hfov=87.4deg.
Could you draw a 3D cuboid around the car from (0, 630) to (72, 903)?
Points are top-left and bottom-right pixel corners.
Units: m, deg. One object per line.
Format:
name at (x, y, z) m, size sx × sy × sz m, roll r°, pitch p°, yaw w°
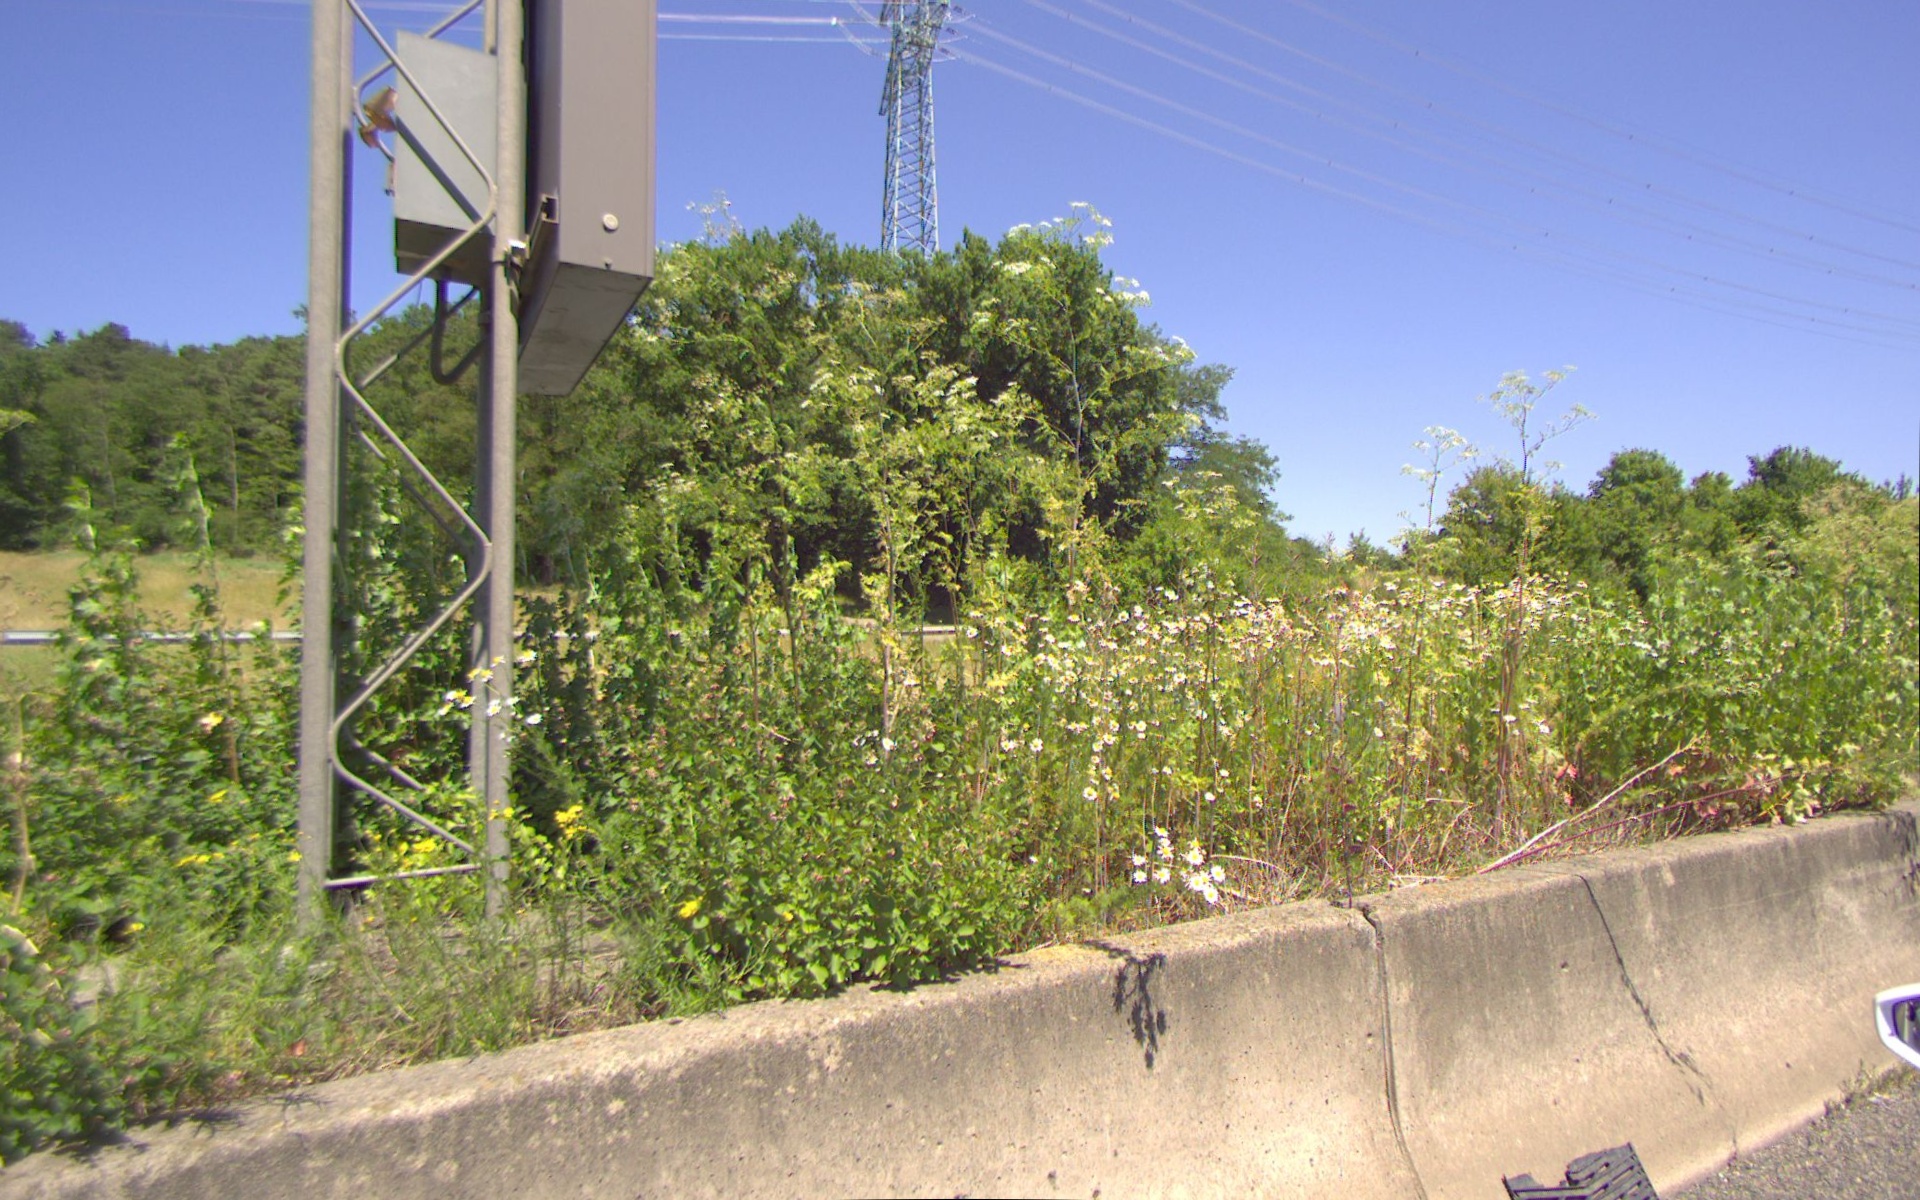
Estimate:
car at (-6.217, 0.827, 4.636) m, size 2.836 × 1.348 × 1.761 m, roll 1°, pitch -1°, yaw -30°
